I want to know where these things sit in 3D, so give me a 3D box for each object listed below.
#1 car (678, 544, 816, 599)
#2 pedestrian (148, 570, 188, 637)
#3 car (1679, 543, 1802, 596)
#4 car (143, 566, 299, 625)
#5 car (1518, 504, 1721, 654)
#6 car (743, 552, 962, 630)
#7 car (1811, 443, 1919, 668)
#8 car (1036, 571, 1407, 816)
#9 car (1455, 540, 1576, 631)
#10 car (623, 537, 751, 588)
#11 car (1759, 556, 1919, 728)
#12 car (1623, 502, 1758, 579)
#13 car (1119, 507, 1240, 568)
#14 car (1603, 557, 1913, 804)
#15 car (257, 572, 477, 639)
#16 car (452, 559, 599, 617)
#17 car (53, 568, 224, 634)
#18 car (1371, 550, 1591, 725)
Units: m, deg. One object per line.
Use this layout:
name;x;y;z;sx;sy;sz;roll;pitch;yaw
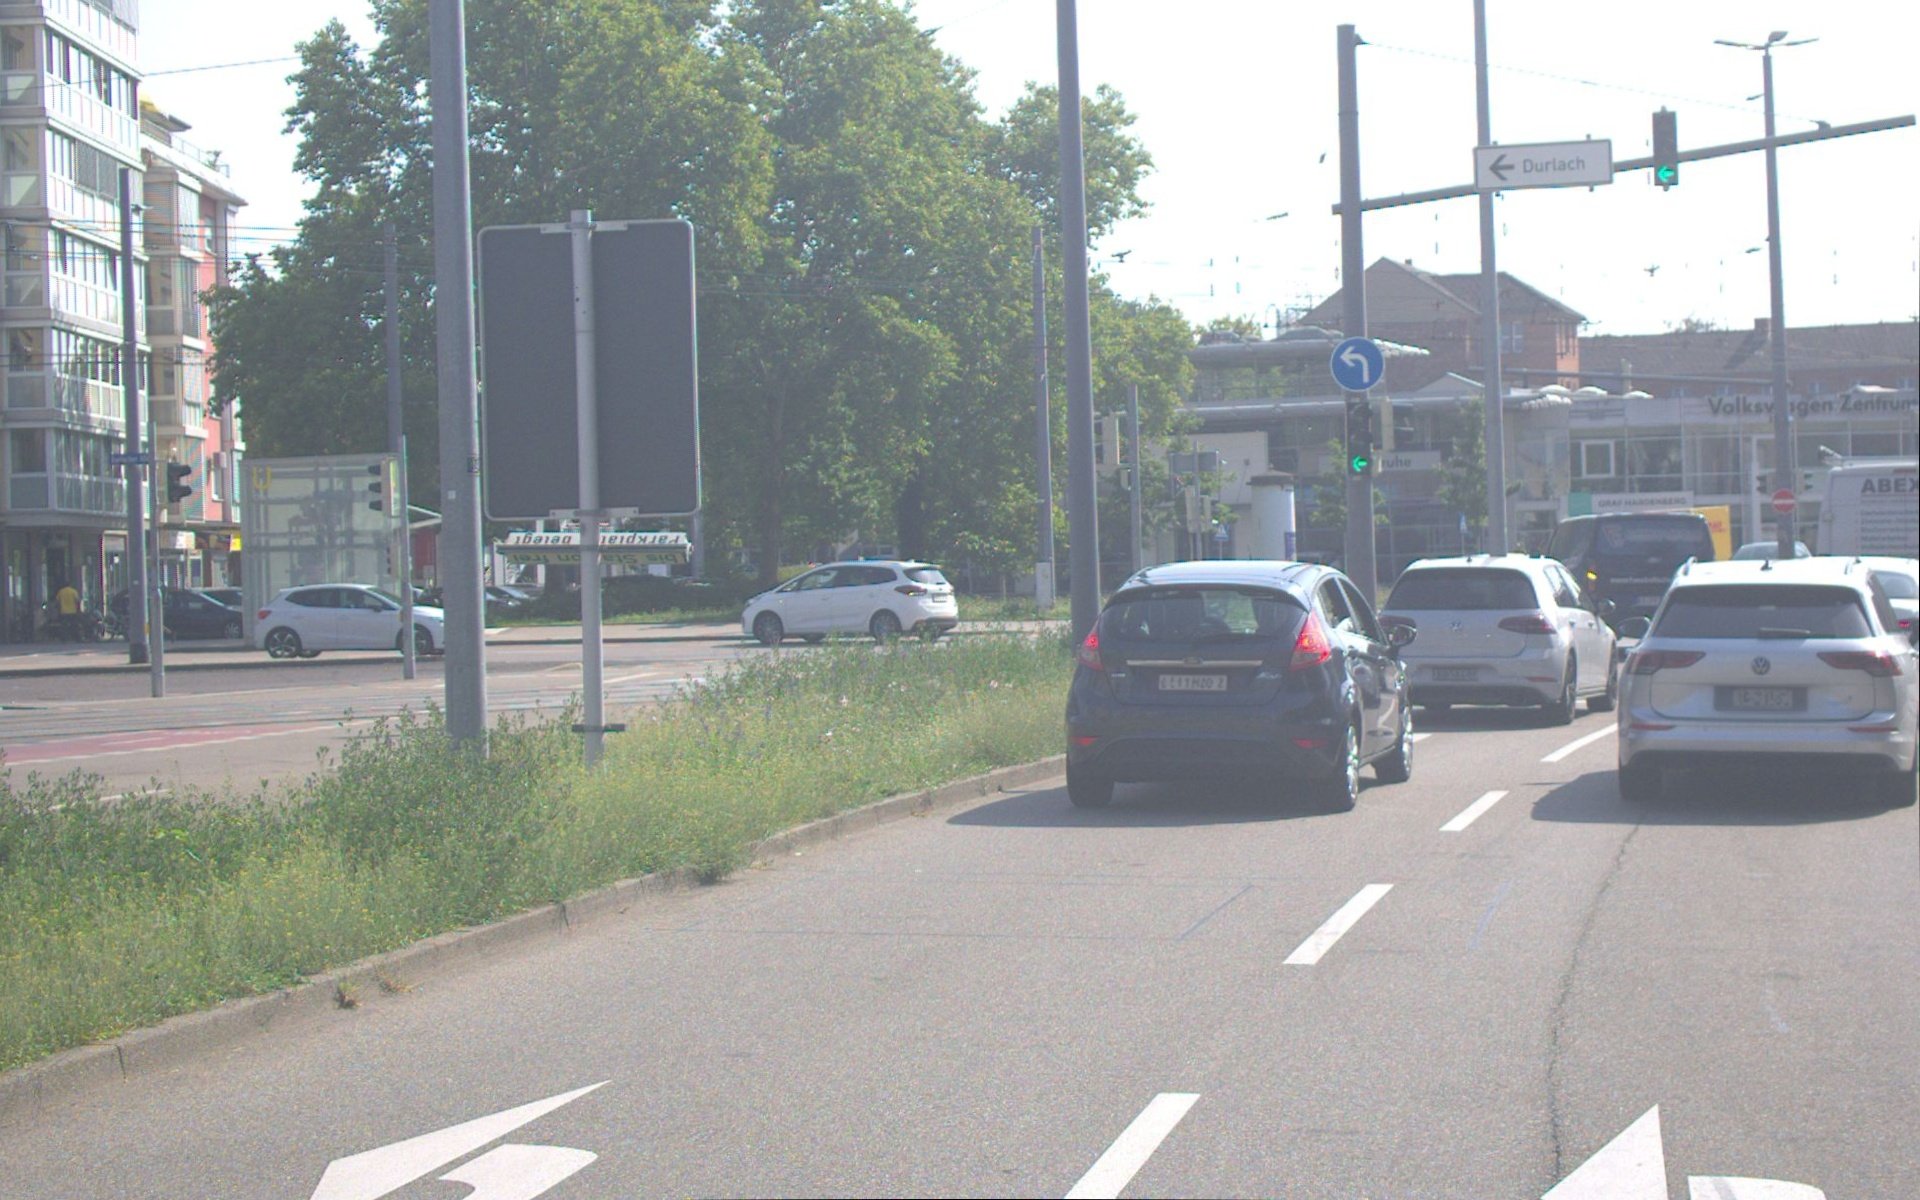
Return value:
car;-6.366;-0.856;103.039;3.987;1.552;1.728;-1;1;0
pedestrian;-19.558;0.084;84.942;0.850;1.615;0.542;-1;0;-3
car;20.601;-0.810;90.647;1.898;1.320;4.125;-1;1;32
car;-20.928;-0.143;97.458;3.987;1.552;1.869;-1;1;0
car;9.308;-0.306;48.874;2.023;2.001;4.683;-1;1;1
car;-2.136;-0.171;67.952;4.082;1.497;1.625;-1;0;31
car;11.382;-0.519;41.086;2.190;2.540;4.680;-1;0;16
car;1.709;0.518;21.221;1.702;1.363;3.961;-1;0;13
car;9.818;-0.276;60.970;1.564;1.369;3.998;-1;3;1
car;-8.864;-1.235;111.904;3.987;1.552;1.728;-1;1;0
car;7.753;0.334;29.983;1.490;1.398;3.940;-1;0;13
car;20.076;-1.641;94.342;1.997;2.007;4.655;-1;1;34
car;7.731;-2.203;120.841;3.989;2.006;1.999;-1;3;11
car;4.917;0.446;21.179;1.686;1.383;3.632;-1;0;13
car;-11.297;0.101;65.570;3.830;1.176;1.576;-1;1;5
car;-12.430;-0.358;98.549;3.987;1.552;1.728;-1;1;0
car;-21.557;0.014;90.298;3.987;1.552;1.869;-1;3;1
car;4.675;0.297;30.526;1.490;1.410;3.645;-1;1;16
